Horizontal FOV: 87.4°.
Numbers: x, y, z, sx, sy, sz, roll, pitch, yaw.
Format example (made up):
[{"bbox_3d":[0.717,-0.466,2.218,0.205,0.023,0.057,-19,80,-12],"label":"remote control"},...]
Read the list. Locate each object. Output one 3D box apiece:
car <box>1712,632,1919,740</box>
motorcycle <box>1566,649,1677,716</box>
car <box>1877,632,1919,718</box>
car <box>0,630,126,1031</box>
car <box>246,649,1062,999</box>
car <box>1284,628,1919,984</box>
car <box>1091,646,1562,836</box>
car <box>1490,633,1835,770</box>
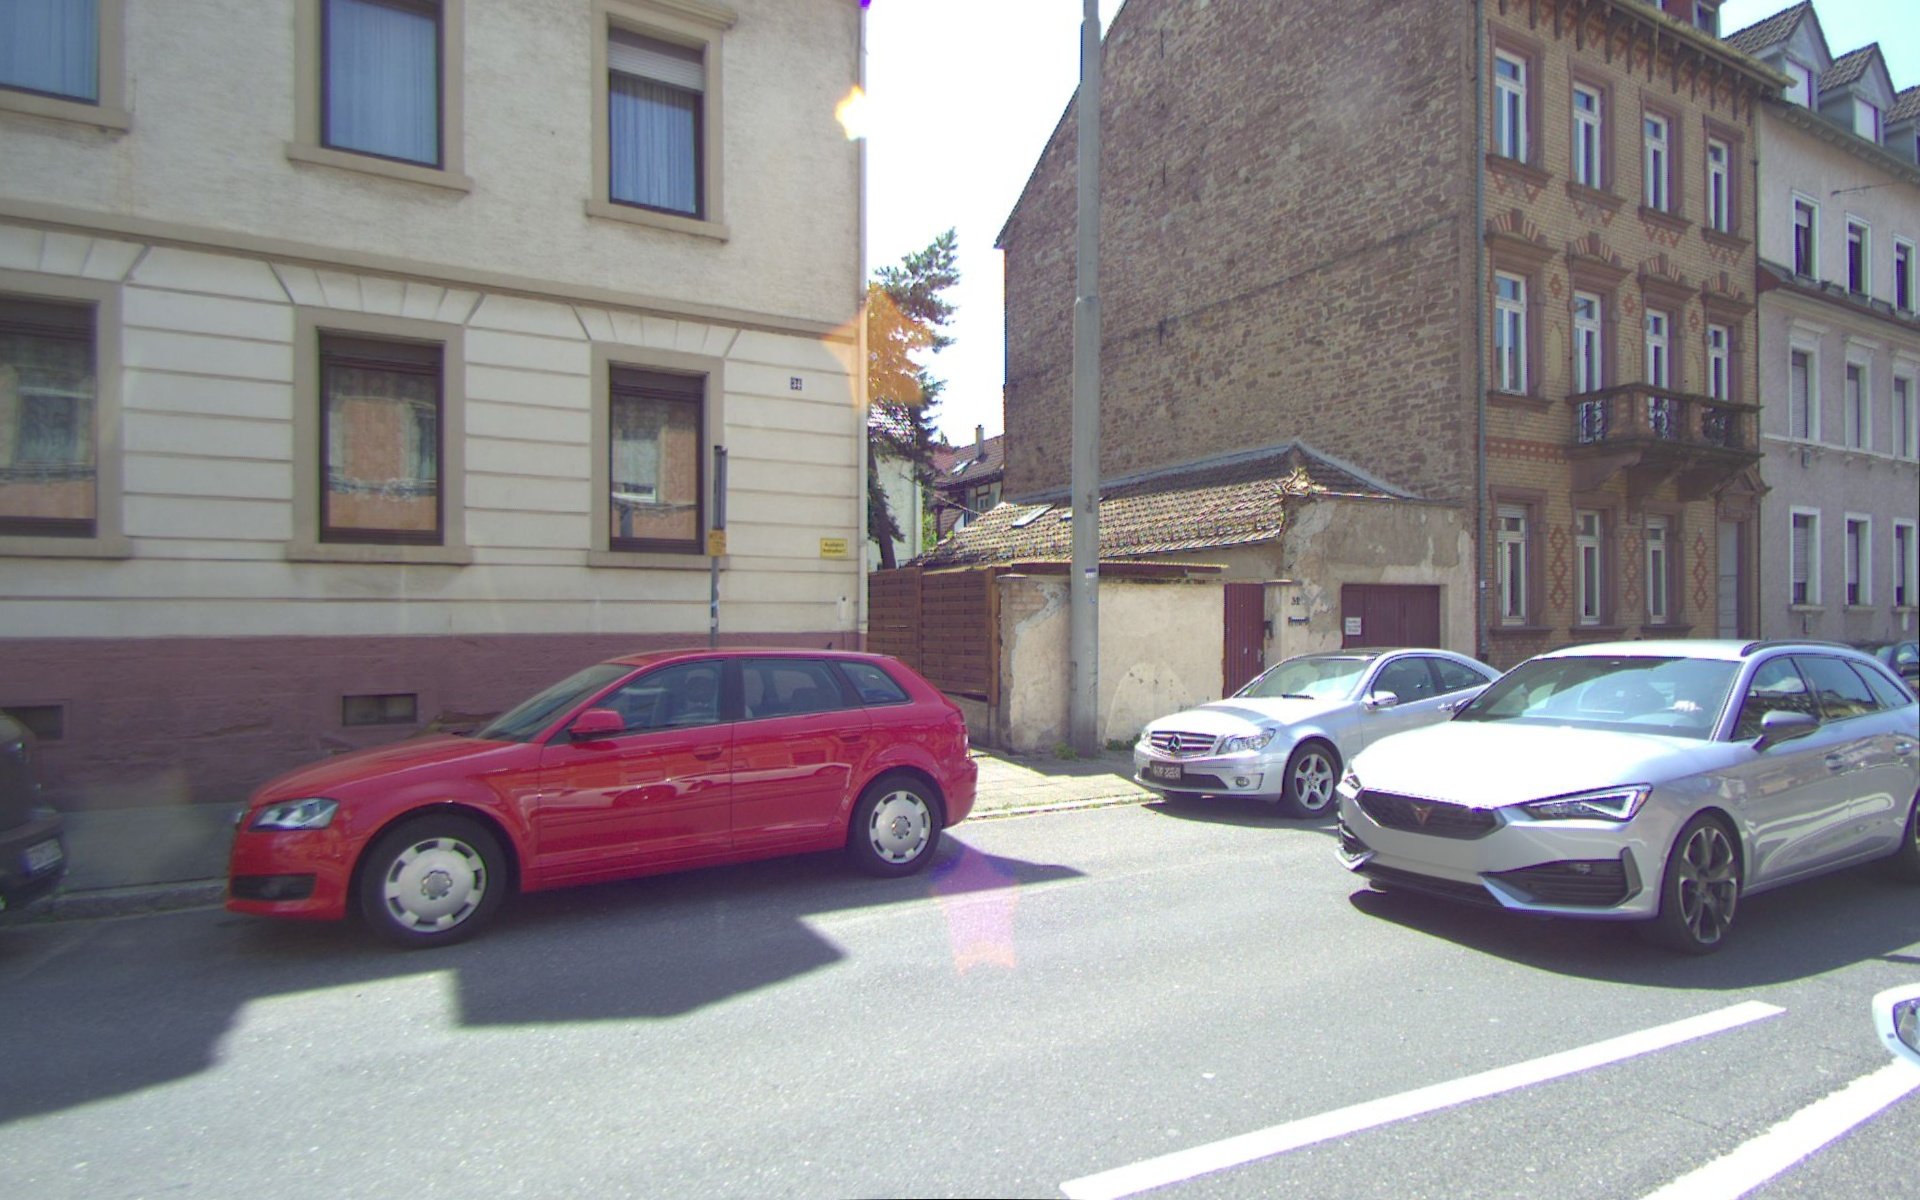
[{"bbox_3d":[13.717,1.258,15.333,4.446,1.440,1.833,1,-5,-28],"label":"car"},{"bbox_3d":[11.226,1.375,17.038,1.911,1.067,0.711,1,-1,-26],"label":"motorcycle"},{"bbox_3d":[18.268,1.286,17.773,4.451,1.441,1.831,1,-4,-31],"label":"car"},{"bbox_3d":[-6.231,0.956,3.778,4.449,1.617,1.832,1,-5,-30],"label":"car"},{"bbox_3d":[-1.680,1.073,6.312,4.454,1.441,1.830,1,-4,-33],"label":"car"},{"bbox_3d":[4.149,0.920,6.002,4.262,1.439,1.783,0,-3,-29],"label":"car"},{"bbox_3d":[3.588,1.178,9.653,4.449,1.441,1.831,1,-3,-30],"label":"car"},{"bbox_3d":[8.855,1.203,12.586,4.451,1.440,1.832,1,-6,-31],"label":"car"}]
